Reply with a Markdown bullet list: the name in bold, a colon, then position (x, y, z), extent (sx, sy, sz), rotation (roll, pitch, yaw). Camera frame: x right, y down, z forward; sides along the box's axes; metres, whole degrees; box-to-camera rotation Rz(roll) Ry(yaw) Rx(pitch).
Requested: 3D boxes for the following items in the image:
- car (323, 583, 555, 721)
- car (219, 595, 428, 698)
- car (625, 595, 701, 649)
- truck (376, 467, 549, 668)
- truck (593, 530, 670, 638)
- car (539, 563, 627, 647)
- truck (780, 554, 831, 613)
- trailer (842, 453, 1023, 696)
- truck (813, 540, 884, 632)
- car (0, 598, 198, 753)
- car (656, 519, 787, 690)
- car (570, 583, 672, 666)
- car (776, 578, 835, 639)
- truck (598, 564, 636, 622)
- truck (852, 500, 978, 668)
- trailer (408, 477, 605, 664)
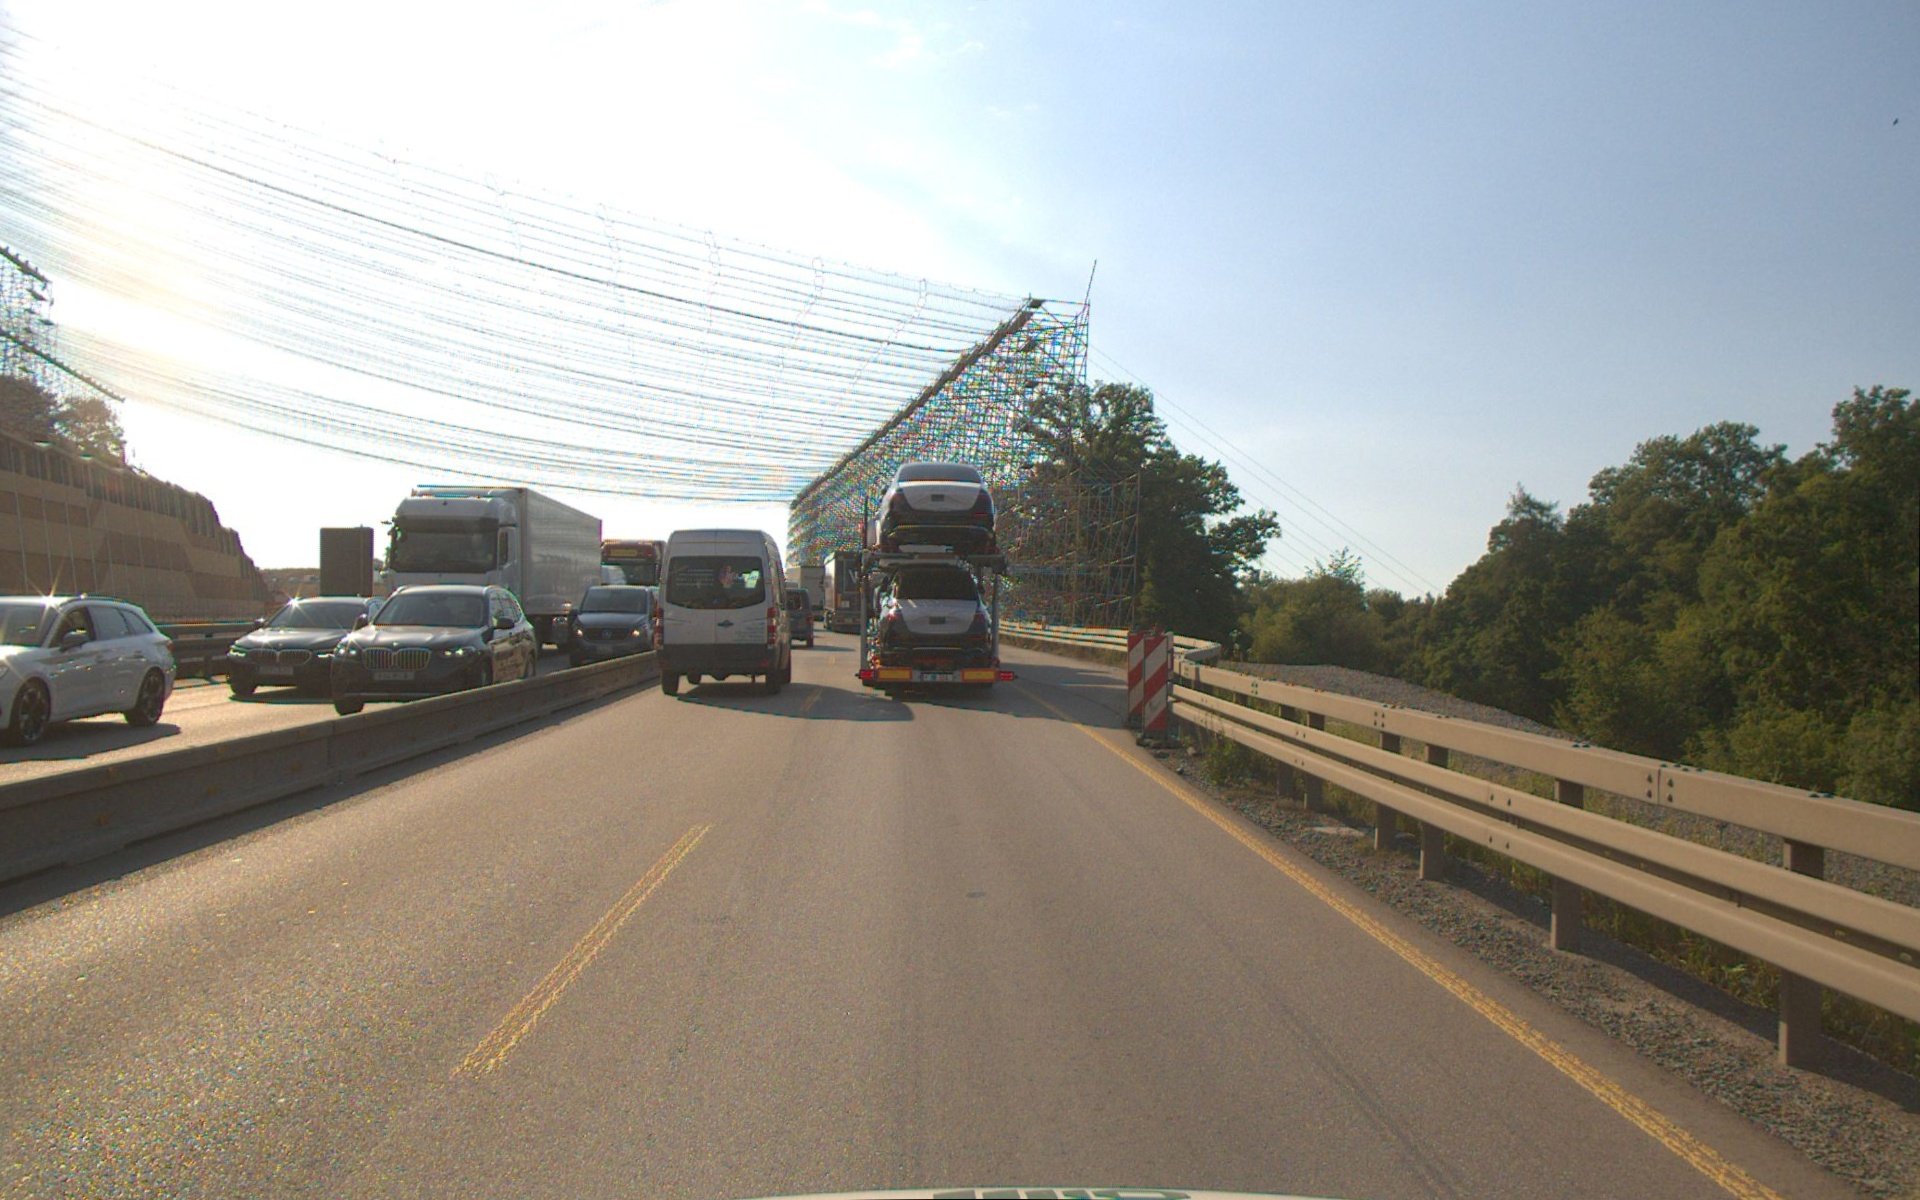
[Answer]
- **car**: position (-6.941, 0.613, 22.591), extent (1.781, 1.606, 4.753), rotation (-1, 1, -2)
- **car**: position (-10.031, 0.696, 26.450), extent (1.708, 1.486, 4.710), rotation (0, 0, -3)
- **car**: position (-9.502, 0.665, 53.248), extent (1.850, 1.595, 4.452), rotation (2, 0, -4)
- **truck**: position (-11.383, -0.673, 38.355), extent (2.660, 4.292, 5.676), rotation (1, 0, -5)
- **truck**: position (-14.000, -0.637, 70.811), extent (2.692, 4.375, 5.925), rotation (1, 0, -7)
- **car**: position (-13.178, 0.119, 58.218), extent (1.982, 2.737, 6.943), rotation (2, 1, -5)
- **truck**: position (-12.193, -1.271, 130.315), extent (3.616, 4.294, 13.652), rotation (-2, 1, -6)
- **trailer**: position (-0.802, -0.357, 33.438), extent (2.812, 3.790, 14.937), rotation (1, 0, -3)
- **truck**: position (-5.991, -0.736, 87.294), extent (2.681, 4.462, 11.498), rotation (2, 0, -9)
- **car**: position (-9.917, 0.707, 17.488), extent (1.714, 1.447, 4.607), rotation (1, -1, -2)
- **car**: position (-3.942, 0.089, 27.900), extent (1.918, 2.667, 3.996), rotation (0, -1, -5)
- **car**: position (-8.143, 0.536, 40.169), extent (1.769, 1.803, 5.448), rotation (1, 1, -5)
- **car**: position (-5.472, 0.313, 58.312), extent (1.955, 2.049, 3.994), rotation (1, -1, -7)
- **truck**: position (-25.983, -0.511, 125.219), extent (2.616, 4.304, 6.084), rotation (1, 0, -13)
- **truck**: position (-1.219, -0.338, 41.022), extent (2.824, 3.767, 7.320), rotation (1, 0, -3)
- **trailer**: position (-11.958, -0.638, 45.116), extent (2.668, 4.292, 13.734), rotation (1, 0, -5)
